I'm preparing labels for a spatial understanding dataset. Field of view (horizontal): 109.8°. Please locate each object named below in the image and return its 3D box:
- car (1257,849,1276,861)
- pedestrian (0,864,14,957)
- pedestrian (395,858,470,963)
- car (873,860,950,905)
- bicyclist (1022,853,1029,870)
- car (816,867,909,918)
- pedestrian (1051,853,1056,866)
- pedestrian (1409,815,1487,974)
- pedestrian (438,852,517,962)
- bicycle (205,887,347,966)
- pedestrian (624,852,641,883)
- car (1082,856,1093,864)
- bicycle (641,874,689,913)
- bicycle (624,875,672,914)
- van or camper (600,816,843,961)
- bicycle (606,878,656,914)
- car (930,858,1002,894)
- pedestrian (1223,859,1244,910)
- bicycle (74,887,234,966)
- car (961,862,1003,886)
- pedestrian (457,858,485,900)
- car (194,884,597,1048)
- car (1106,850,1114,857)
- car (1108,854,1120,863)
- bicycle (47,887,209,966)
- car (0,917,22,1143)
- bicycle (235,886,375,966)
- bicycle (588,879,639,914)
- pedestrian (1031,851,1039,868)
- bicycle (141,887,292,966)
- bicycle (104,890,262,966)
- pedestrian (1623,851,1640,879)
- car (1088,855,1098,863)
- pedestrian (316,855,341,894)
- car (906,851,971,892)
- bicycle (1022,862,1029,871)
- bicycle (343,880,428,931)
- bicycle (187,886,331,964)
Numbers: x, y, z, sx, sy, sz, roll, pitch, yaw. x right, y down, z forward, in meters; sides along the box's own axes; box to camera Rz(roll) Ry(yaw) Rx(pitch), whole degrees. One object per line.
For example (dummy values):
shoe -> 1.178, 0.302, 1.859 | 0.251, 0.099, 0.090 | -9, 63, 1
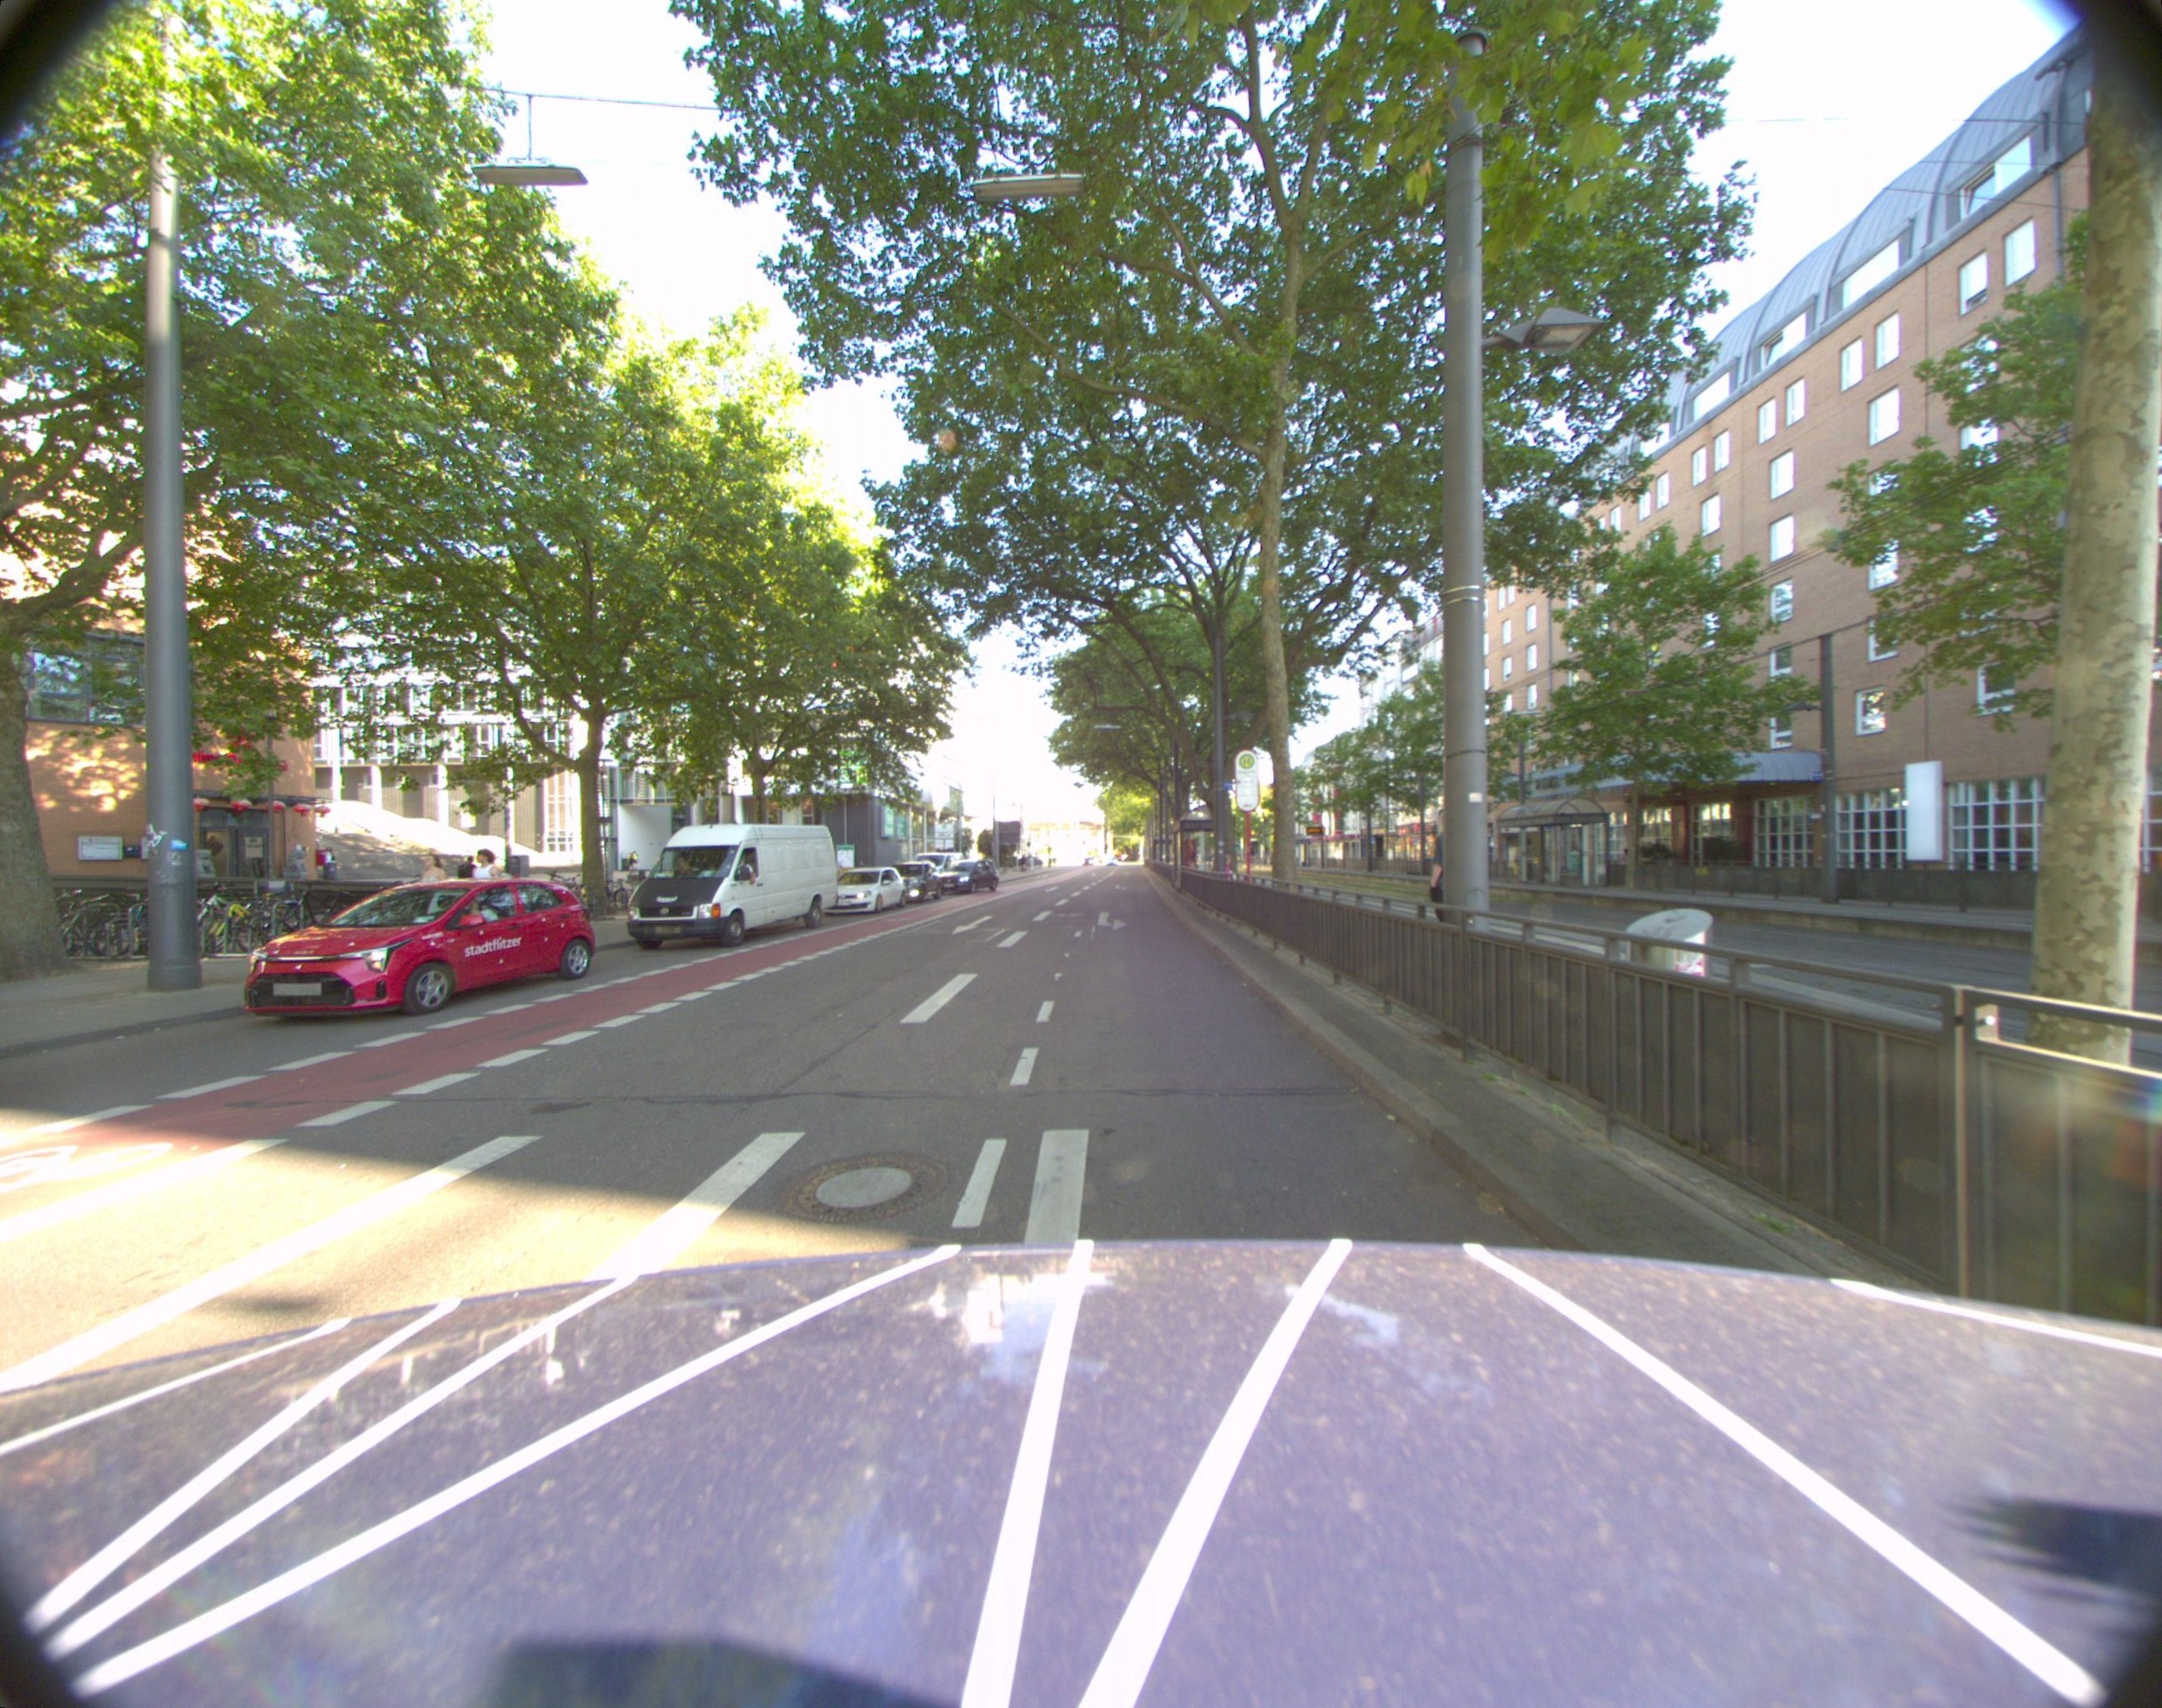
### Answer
car -> 28.427, 0.152, 116.292 | 1.998, 1.696, 4.000 | -1, 0, 1
pedestrian -> -20.268, 1.048, 13.759 | 0.807, 1.697, 0.716 | -1, 1, -21
pedestrian -> -11.291, 0.952, 13.250 | 0.648, 1.766, 0.764 | -1, 1, -6
car -> -6.721, 1.085, 30.600 | 1.818, 1.610, 4.229 | -1, 0, 5
bicyclist -> -5.695, 0.736, 78.380 | 0.673, 1.707, 0.715 | -1, 1, 1
car -> -7.035, 1.190, 24.888 | 1.682, 1.420, 4.001 | -1, 0, 3
pedestrian -> -3.983, 0.777, 109.245 | 0.676, 1.853, 0.741 | -2, 1, 1
pedestrian -> 4.503, 0.470, 9.352 | 0.607, 1.873, 0.622 | -2, 3, -15
pedestrian -> -10.554, 0.904, 13.314 | 0.643, 1.834, 0.814 | 3, 0, -4
bicycle -> -13.826, 1.207, 13.138 | 0.448, 1.187, 1.850 | 0, 0, 1
pedestrian -> -31.151, 0.935, 52.771 | 0.836, 2.144, 0.858 | -1, 1, -23
car -> 1.204, 0.985, 135.059 | 1.801, 1.369, 4.001 | -1, 0, 3
bicycle -> -13.578, 1.271, 24.845 | 0.522, 1.187, 1.850 | 0, 0, 1
bicycle -> -14.121, 1.300, 24.825 | 0.495, 1.187, 1.850 | 0, 0, 1
van or camper -> -7.557, 0.623, 17.072 | 1.998, 2.563, 6.575 | -2, 0, 3
bicycle -> -14.665, 1.345, 24.823 | 0.522, 1.088, 1.797 | 0, 0, 1
car -> -5.522, 1.017, 37.171 | 1.964, 1.610, 4.335 | -1, 0, 14
pedestrian -> 3.926, 0.779, 19.628 | 0.500, 1.308, 0.419 | 0, 1, 8
bicycle -> -15.929, 1.206, 13.140 | 0.458, 1.187, 1.850 | 0, 0, 1
car -> -6.005, 1.178, 46.395 | 1.801, 1.369, 4.001 | 0, 0, 3
pedestrian -> -22.559, 0.915, 28.110 | 0.719, 1.549, 0.639 | -1, 1, -35
car -> -7.950, 1.180, 9.355 | 1.606, 1.449, 3.651 | -1, 0, 0
car -> 7.760, -0.136, 205.235 | 1.998, 2.002, 4.001 | 0, 0, 4
car -> 5.388, 0.766, 124.452 | 1.733, 1.432, 4.000 | -2, 0, 2
bicycle -> -16.392, 1.200, 13.142 | 0.435, 1.187, 1.850 | 0, 0, 1
car -> -7.997, 1.176, 2.964 | 1.743, 1.476, 4.251 | -1, 0, 0
bicycle -> -13.323, 1.196, 13.133 | 0.482, 1.187, 1.850 | 0, 0, 1
bicycle -> -15.226, 1.367, 24.798 | 0.516, 1.027, 1.850 | 0, 0, 1
pedestrian -> -5.126, 0.624, 84.600 | 0.676, 1.853, 0.741 | -2, 1, 1
bicycle -> -14.848, 1.202, 13.129 | 0.447, 1.187, 1.850 | 0, 0, 1
bicycle -> -15.431, 1.239, 13.138 | 0.485, 1.118, 1.850 | 0, 0, 1
pedestrian -> 28.675, 0.560, 39.597 | 0.519, 1.427, 0.516 | 0, 1, 4
car -> 2.444, 0.929, 149.500 | 1.801, 1.438, 4.001 | -1, 0, 3
pedestrian -> -39.528, 1.060, 39.904 | 0.878, 2.025, 0.584 | -1, 1, -43
car -> -7.491, 0.864, 40.434 | 1.965, 1.983, 4.960 | -1, 0, 7
bicycle -> -5.679, 1.269, 78.378 | 0.580, 0.879, 1.671 | -1, 0, 1
bicycle -> -17.889, 1.289, 19.596 | 0.517, 1.187, 1.790 | 0, 0, 1
bicycle -> -14.332, 1.203, 13.329 | 0.484, 1.187, 1.850 | 0, 0, 1
